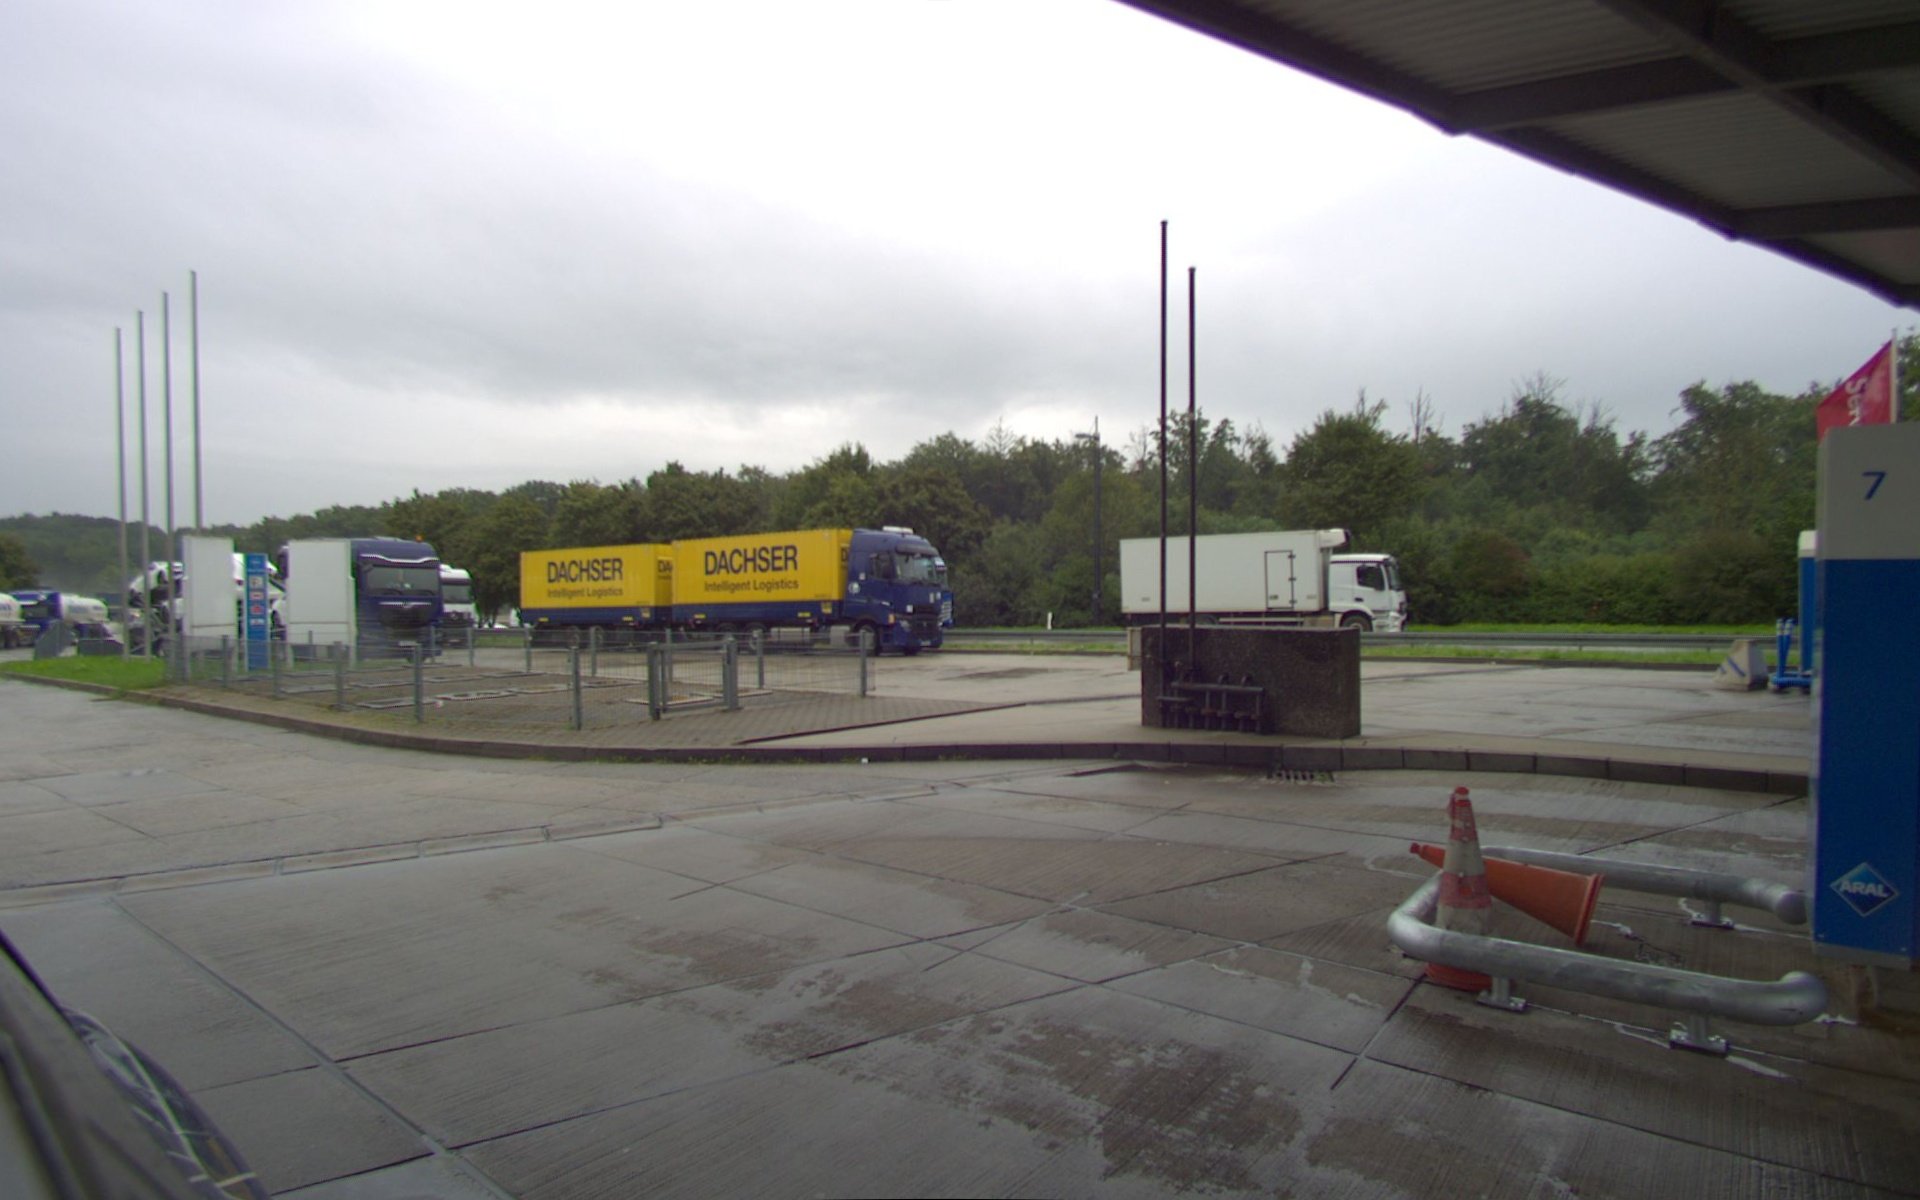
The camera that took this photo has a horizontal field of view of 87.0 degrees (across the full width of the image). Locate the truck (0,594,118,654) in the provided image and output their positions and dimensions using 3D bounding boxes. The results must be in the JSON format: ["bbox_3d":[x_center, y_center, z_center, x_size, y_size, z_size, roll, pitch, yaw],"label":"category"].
[{"bbox_3d":[-61.487,1.618,68.655,3.454,3.633,14.709,-1,-1,-27],"label":"truck"}]

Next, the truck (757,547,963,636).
[{"bbox_3d":[-4.873,-0.319,47.641,10.195,3.836,2.395,-1,0,31],"label":"truck"}]

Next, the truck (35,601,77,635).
[{"bbox_3d":[-116.162,2.227,129.996,11.525,4.160,3.101,-1,0,44],"label":"truck"}]

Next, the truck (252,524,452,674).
[{"bbox_3d":[-19.003,0.009,31.475,7.089,4.213,2.635,-1,0,35],"label":"truck"}]

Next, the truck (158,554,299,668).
[{"bbox_3d":[-26.101,0.393,36.072,4.738,3.800,2.635,-1,0,34],"label":"truck"}]

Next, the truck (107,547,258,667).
[{"bbox_3d":[-29.583,0.297,38.445,6.605,4.213,2.635,-1,0,35],"label":"truck"}]

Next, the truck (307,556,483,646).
[{"bbox_3d":[-27.312,0.100,48.626,10.654,3.946,2.727,-1,0,33],"label":"truck"}]

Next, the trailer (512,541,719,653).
[{"bbox_3d":[-13.493,-0.077,39.256,8.679,3.946,2.728,-1,0,32],"label":"trailer"}]

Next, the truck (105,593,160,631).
[{"bbox_3d":[-117.157,1.735,143.217,11.498,5.160,3.109,-1,0,36],"label":"truck"}]

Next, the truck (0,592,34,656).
[{"bbox_3d":[-55.149,1.336,53.688,3.454,3.633,14.444,-1,-1,-19],"label":"truck"}]

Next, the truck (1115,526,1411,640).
[{"bbox_3d":[10.975,-0.522,37.445,10.195,3.836,2.395,-1,0,31],"label":"truck"}]

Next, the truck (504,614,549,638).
[{"bbox_3d":[-42.984,2.565,100.293,4.620,2.282,1.712,-1,0,30],"label":"truck"}]

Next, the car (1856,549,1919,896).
[{"bbox_3d":[6.915,0.541,3.797,5.269,1.620,1.842,-1,0,41],"label":"car"}]

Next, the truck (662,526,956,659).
[{"bbox_3d":[-5.331,-0.181,34.026,10.654,3.946,2.727,-1,0,33],"label":"truck"}]

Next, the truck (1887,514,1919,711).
[{"bbox_3d":[14.998,0.122,11.951,5.859,2.513,2.208,-1,0,41],"label":"truck"}]

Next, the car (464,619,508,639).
[{"bbox_3d":[-45.624,2.790,97.339,4.355,1.904,1.712,-1,0,30],"label":"car"}]
